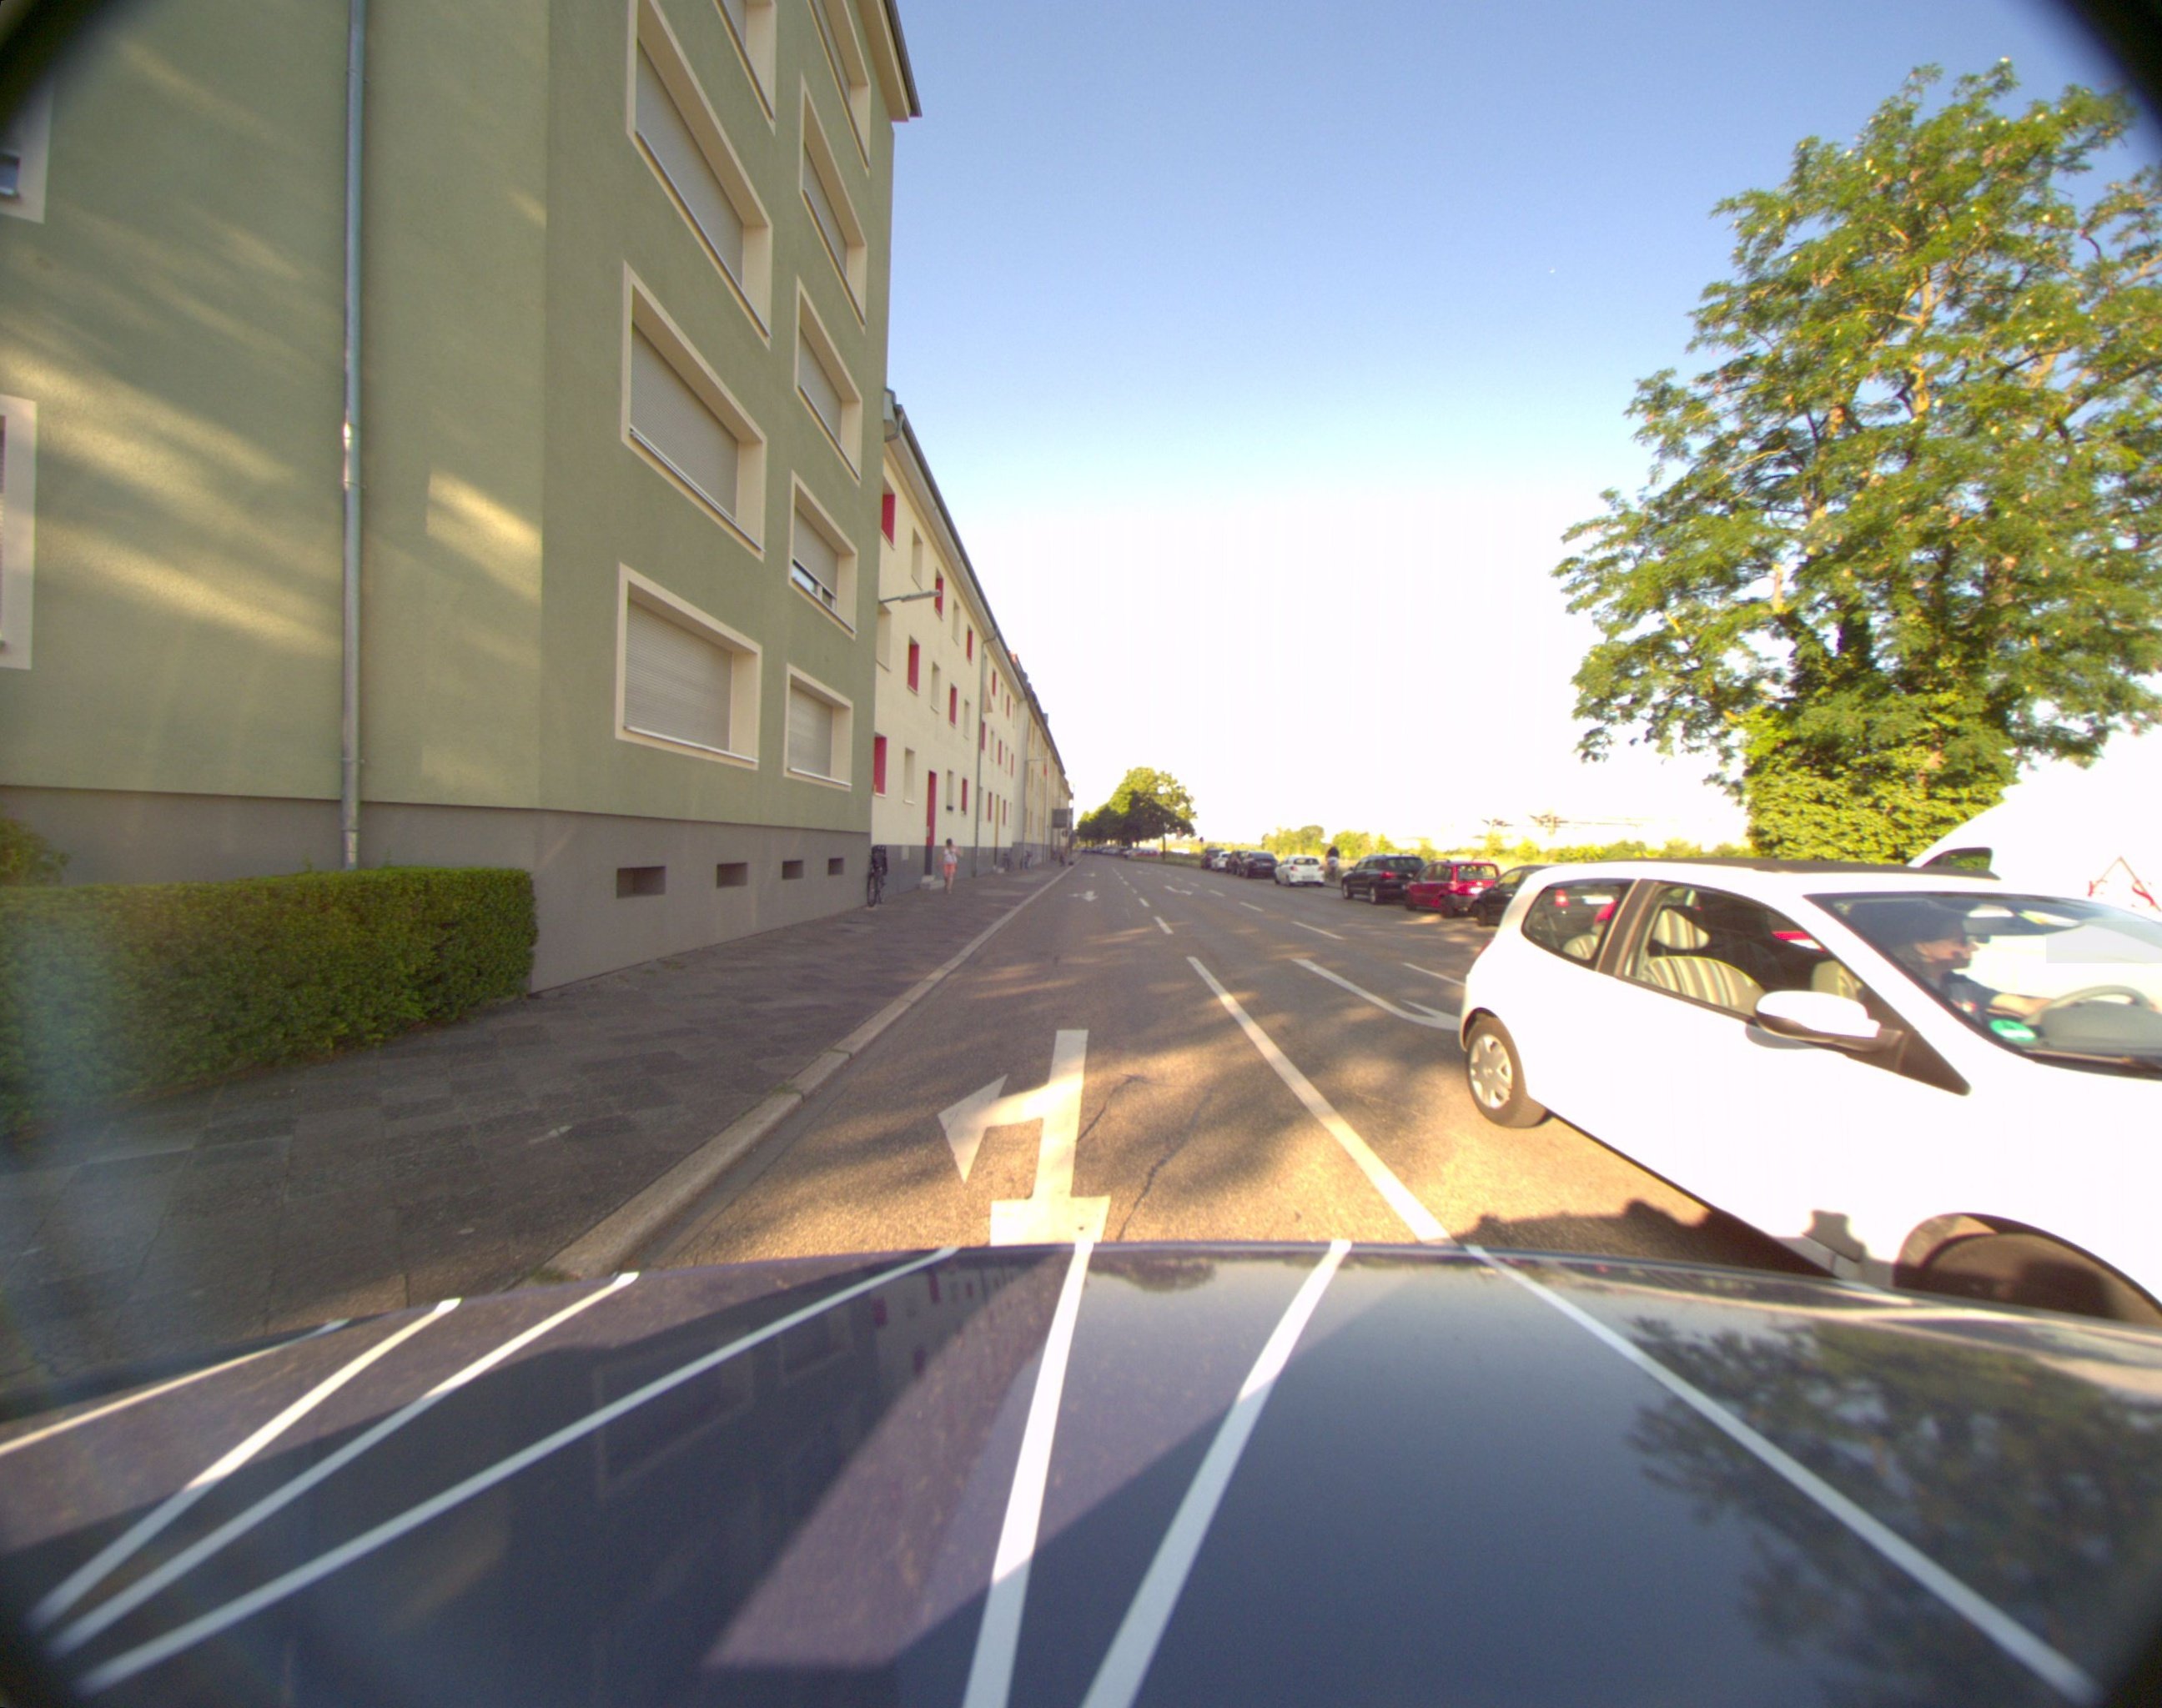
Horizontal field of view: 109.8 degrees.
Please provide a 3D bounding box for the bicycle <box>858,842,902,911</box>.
[{"bbox_3d":[-4.330,0.445,16.474,0.517,1.404,1.872,2,1,-3],"label":"bicycle"}]

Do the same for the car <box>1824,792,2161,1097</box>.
[{"bbox_3d":[9.685,0.706,5.949,2.235,2.422,5.559,-1,1,-1],"label":"car"}]

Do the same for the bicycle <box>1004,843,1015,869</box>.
[{"bbox_3d":[-3.996,0.090,42.475,0.517,1.404,1.872,2,1,-3],"label":"bicycle"}]

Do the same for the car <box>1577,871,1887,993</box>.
[{"bbox_3d":[10.054,1.099,12.174,1.745,1.478,3.693,2,1,0],"label":"car"}]

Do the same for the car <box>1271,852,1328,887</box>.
[{"bbox_3d":[10.357,0.692,36.198,1.706,1.517,3.582,2,1,1],"label":"car"}]

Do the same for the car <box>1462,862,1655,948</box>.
[{"bbox_3d":[10.149,0.998,16.543,1.745,1.521,3.816,2,1,0],"label":"car"}]

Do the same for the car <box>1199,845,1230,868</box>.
[{"bbox_3d":[10.906,0.135,62.106,1.891,1.765,4.219,2,1,2],"label":"car"}]

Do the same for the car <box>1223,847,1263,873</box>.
[{"bbox_3d":[10.770,0.363,50.830,1.823,1.628,4.219,2,1,2],"label":"car"}]

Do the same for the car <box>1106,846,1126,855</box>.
[{"bbox_3d":[7.164,-0.785,156.424,3.997,1.708,1.999,2,1,-1],"label":"car"}]

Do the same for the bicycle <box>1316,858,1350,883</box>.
[{"bbox_3d":[12.877,0.808,38.883,0.939,1.182,2.482,2,1,2],"label":"bicycle"}]

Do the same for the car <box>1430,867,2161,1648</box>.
[{"bbox_3d":[3.016,0.862,2.728,1.705,1.460,3.774,2,1,-1],"label":"car"}]

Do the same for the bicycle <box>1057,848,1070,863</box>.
[{"bbox_3d":[-1.337,0.108,57.946,0.651,1.091,2.201,2,1,-8],"label":"bicycle"}]

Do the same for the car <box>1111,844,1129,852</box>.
[{"bbox_3d":[8.910,-1.309,174.272,3.997,1.708,1.999,2,1,-1],"label":"car"}]

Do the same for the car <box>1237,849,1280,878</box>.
[{"bbox_3d":[10.503,0.528,45.131,1.823,1.517,4.290,2,1,5],"label":"car"}]

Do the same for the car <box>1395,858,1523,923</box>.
[{"bbox_3d":[10.235,0.930,20.859,1.664,1.521,3.578,2,1,0],"label":"car"}]

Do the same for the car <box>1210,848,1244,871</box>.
[{"bbox_3d":[10.767,0.355,56.223,1.823,1.565,4.219,2,1,2],"label":"car"}]

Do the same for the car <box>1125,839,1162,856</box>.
[{"bbox_3d":[9.340,-1.006,113.355,5.322,2.398,2.266,-2,1,0],"label":"car"}]

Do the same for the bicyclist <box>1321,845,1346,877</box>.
[{"bbox_3d":[12.902,0.351,38.906,0.866,1.587,1.146,2,1,1],"label":"bicyclist"}]

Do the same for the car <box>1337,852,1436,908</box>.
[{"bbox_3d":[10.106,0.787,25.478,1.664,1.650,4.005,2,1,0],"label":"car"}]

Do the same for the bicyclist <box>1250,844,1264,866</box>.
[{"bbox_3d":[12.881,0.042,55.599,0.768,1.587,1.146,2,1,2],"label":"bicyclist"}]

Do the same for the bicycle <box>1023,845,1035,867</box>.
[{"bbox_3d":[-3.235,0.112,47.408,0.517,1.318,2.210,2,1,2],"label":"bicycle"}]

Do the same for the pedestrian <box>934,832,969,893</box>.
[{"bbox_3d":[-3.680,0.236,21.663,0.787,1.697,0.950,2,1,1],"label":"pedestrian"}]
